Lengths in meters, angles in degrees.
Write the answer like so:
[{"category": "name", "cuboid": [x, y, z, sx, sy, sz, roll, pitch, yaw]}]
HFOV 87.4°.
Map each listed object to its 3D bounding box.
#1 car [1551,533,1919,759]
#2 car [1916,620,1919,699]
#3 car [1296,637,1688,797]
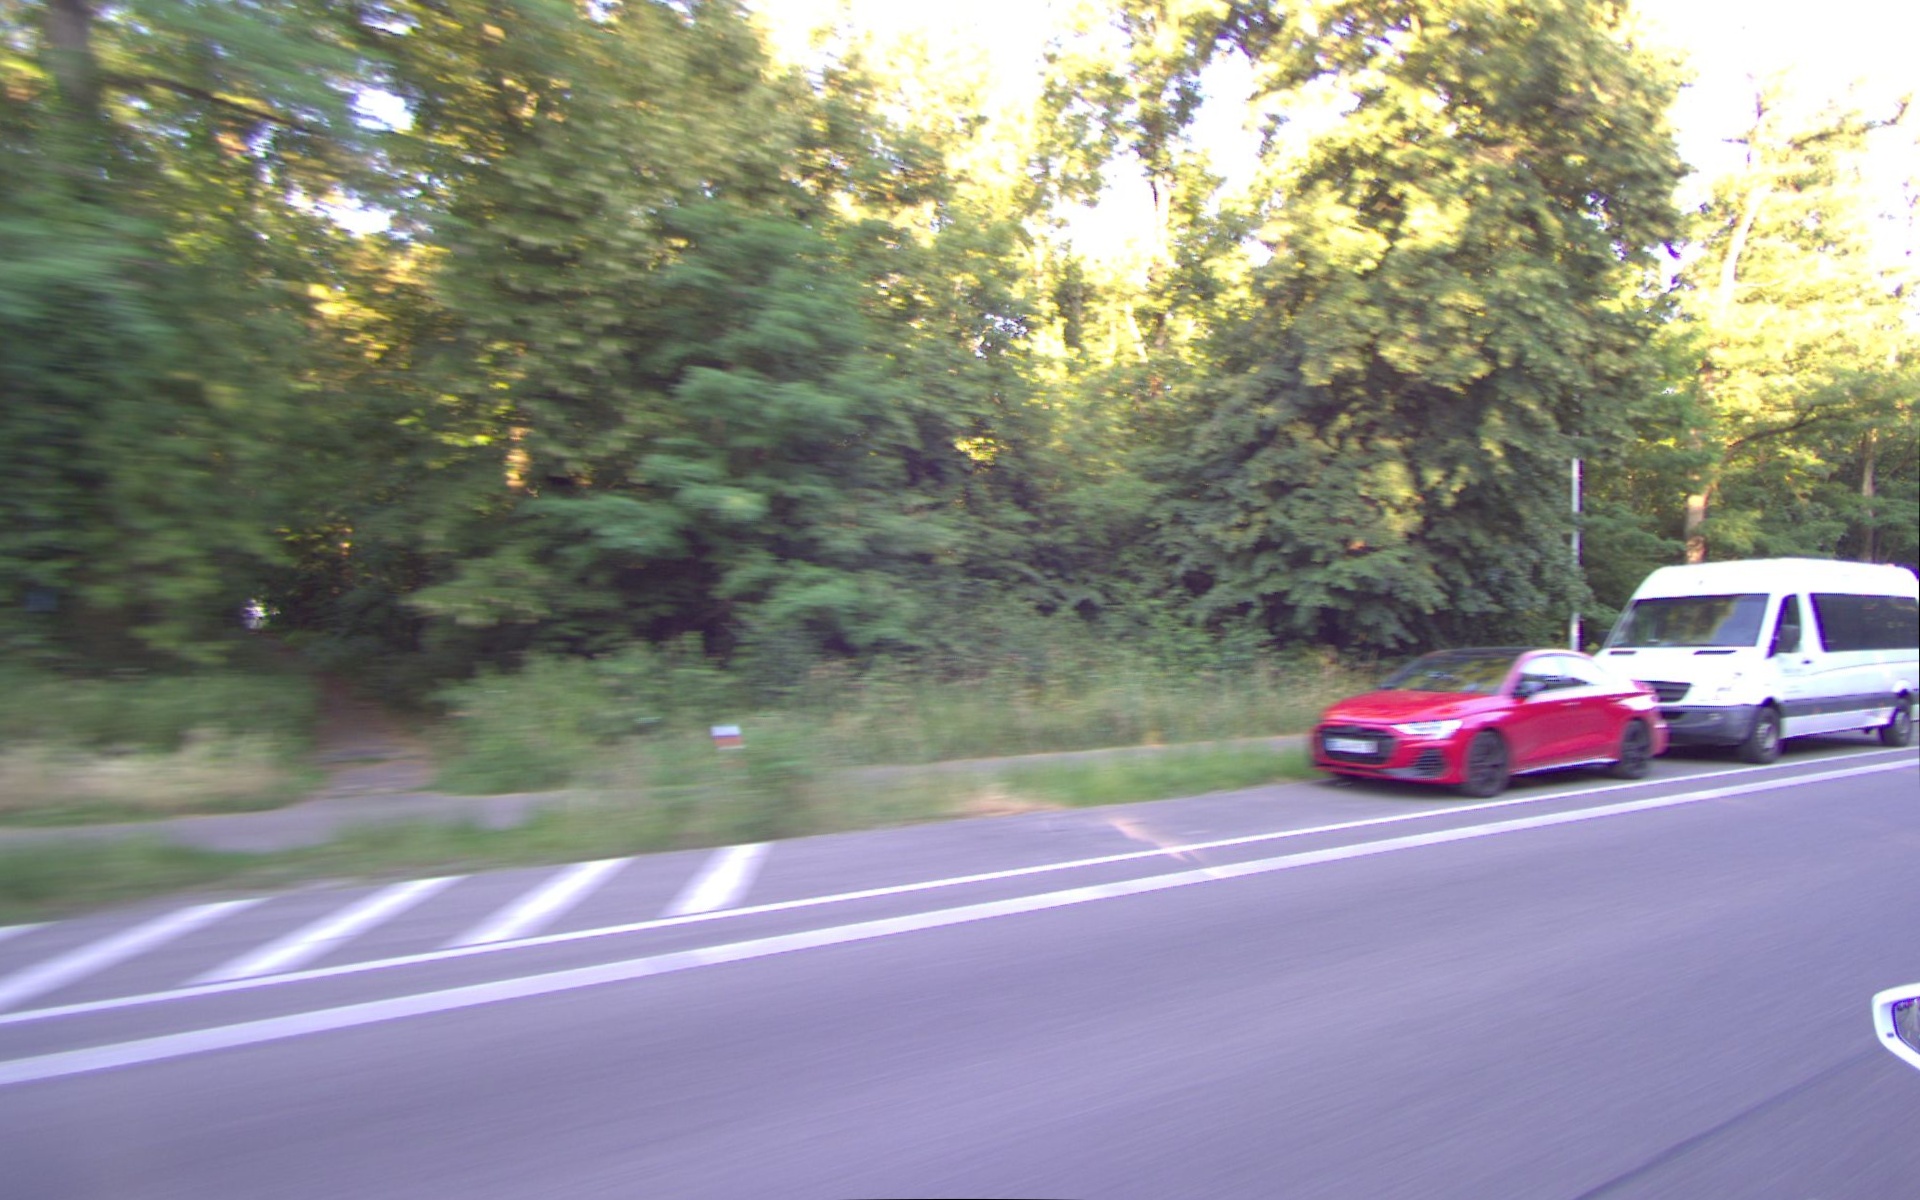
[{"category": "car", "cuboid": [11.533, 0.667, 14.412, 7.006, 2.640, 2.070, 1, -4, -31]}, {"category": "car", "cuboid": [21.633, 1.358, 20.802, 4.341, 1.882, 1.678, 2, -4, -33]}, {"category": "car", "cuboid": [5.865, 1.138, 10.965, 4.334, 1.449, 1.709, 1, -2, -29]}]
